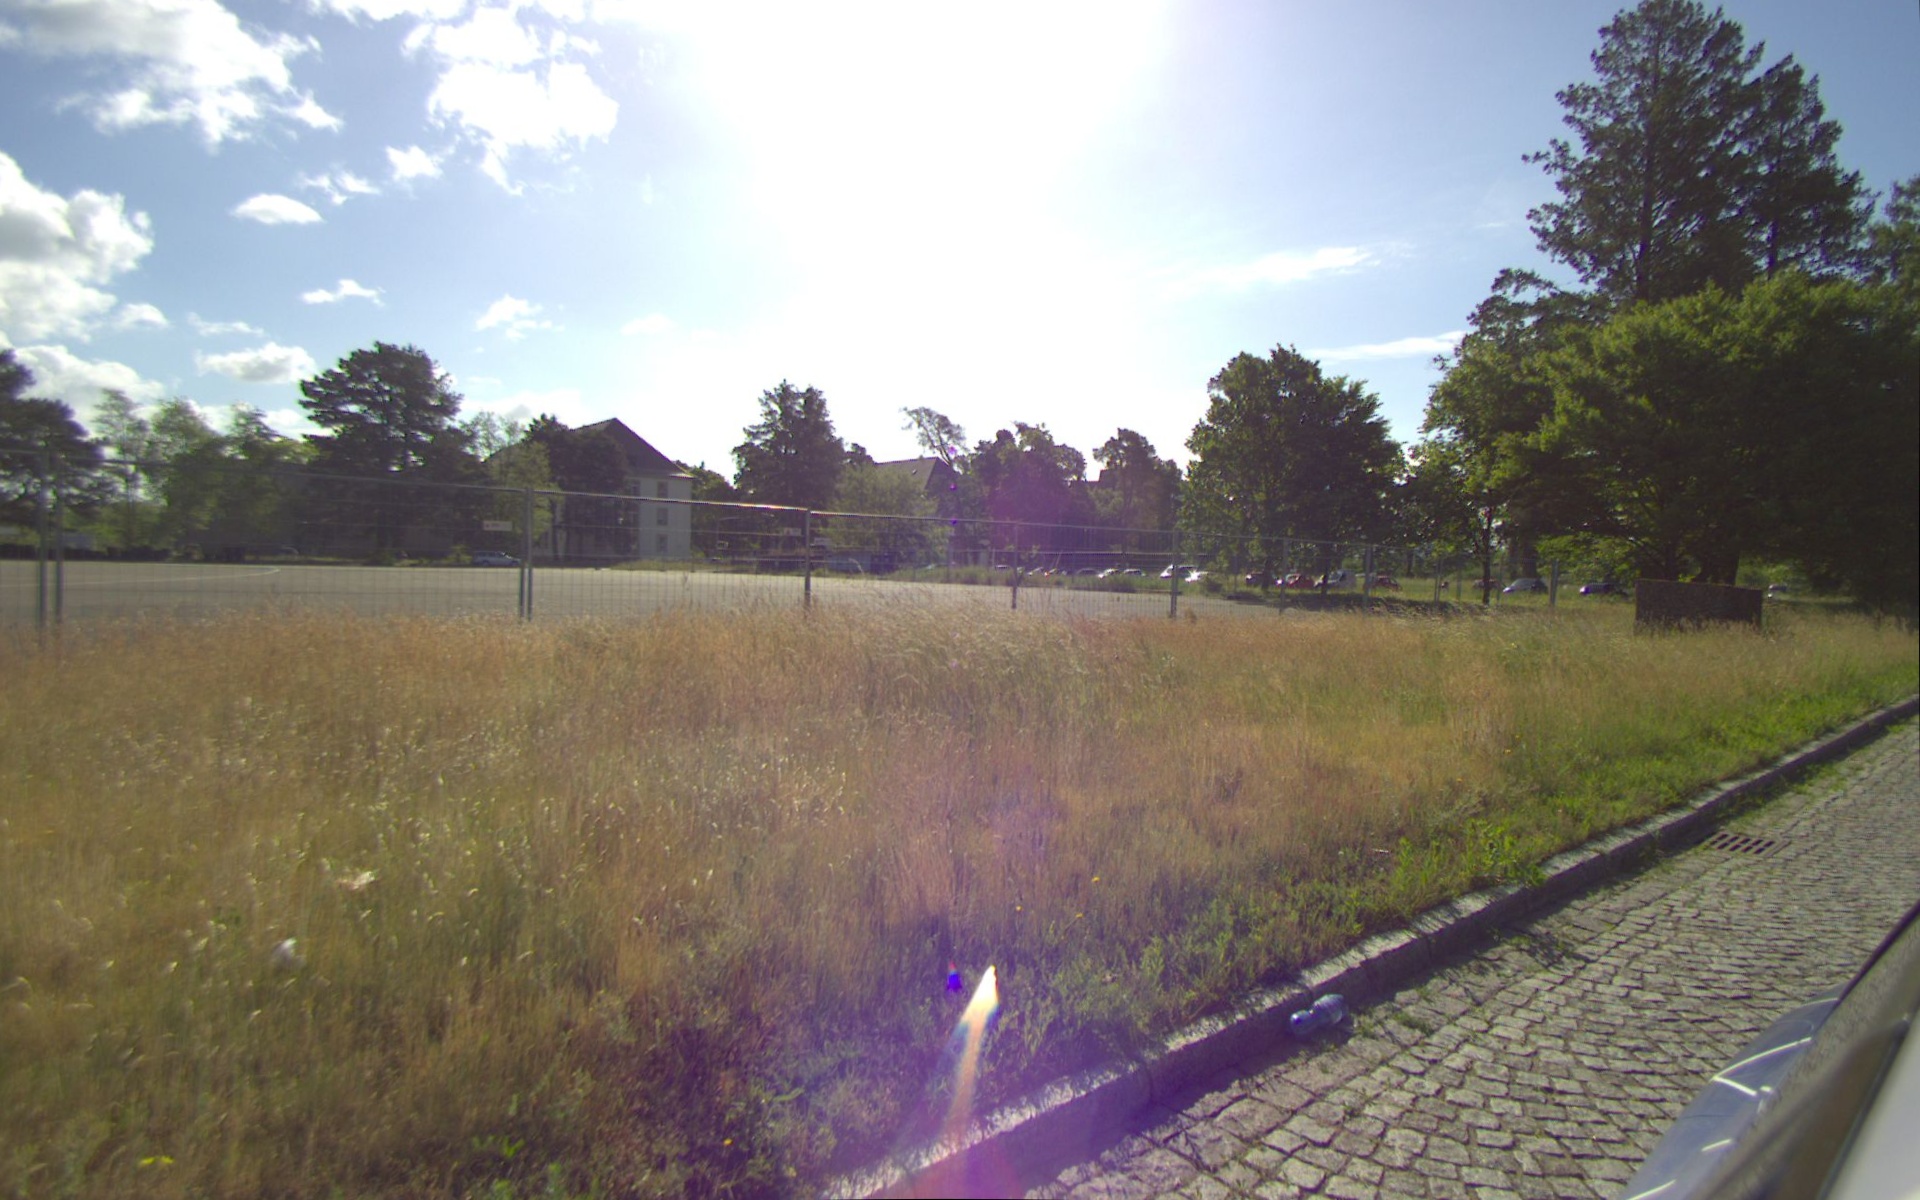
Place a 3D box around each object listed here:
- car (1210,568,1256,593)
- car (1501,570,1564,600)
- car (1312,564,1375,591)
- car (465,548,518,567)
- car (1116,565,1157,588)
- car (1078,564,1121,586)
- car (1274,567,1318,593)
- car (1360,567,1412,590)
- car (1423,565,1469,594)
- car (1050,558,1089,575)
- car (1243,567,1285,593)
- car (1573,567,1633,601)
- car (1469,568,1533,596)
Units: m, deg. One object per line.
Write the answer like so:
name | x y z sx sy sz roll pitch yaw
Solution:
car | 23.754 -1.674 87.891 3.931 2.038 1.997 0 2 -42
car | 38.557 -1.026 68.106 4.272 1.861 2.246 0 3 -40
car | 30.235 -1.787 79.615 5.928 2.038 1.998 -2 2 -40
car | -42.328 -3.830 91.488 3.934 1.601 1.996 -1 3 -44
car | 16.549 -2.185 94.940 3.782 2.038 1.742 0 2 -39
car | 13.577 -2.444 98.493 3.931 2.038 1.997 0 2 -41
car | 27.269 -1.648 82.042 3.556 2.038 1.741 -1 3 -41
car | 32.115 -1.640 76.252 3.930 1.672 1.998 -1 3 -41
car | 35.395 -1.511 73.646 3.556 2.038 1.741 -1 3 -41
car | 10.957 -3.333 101.373 3.782 1.678 1.742 0 3 -39
car | 25.241 -1.678 83.996 3.556 2.038 1.741 -1 3 -41
car | 41.082 -1.044 64.638 4.277 2.038 2.243 -1 3 -44
car | 37.671 -1.270 70.449 4.268 1.861 2.248 0 3 -36
